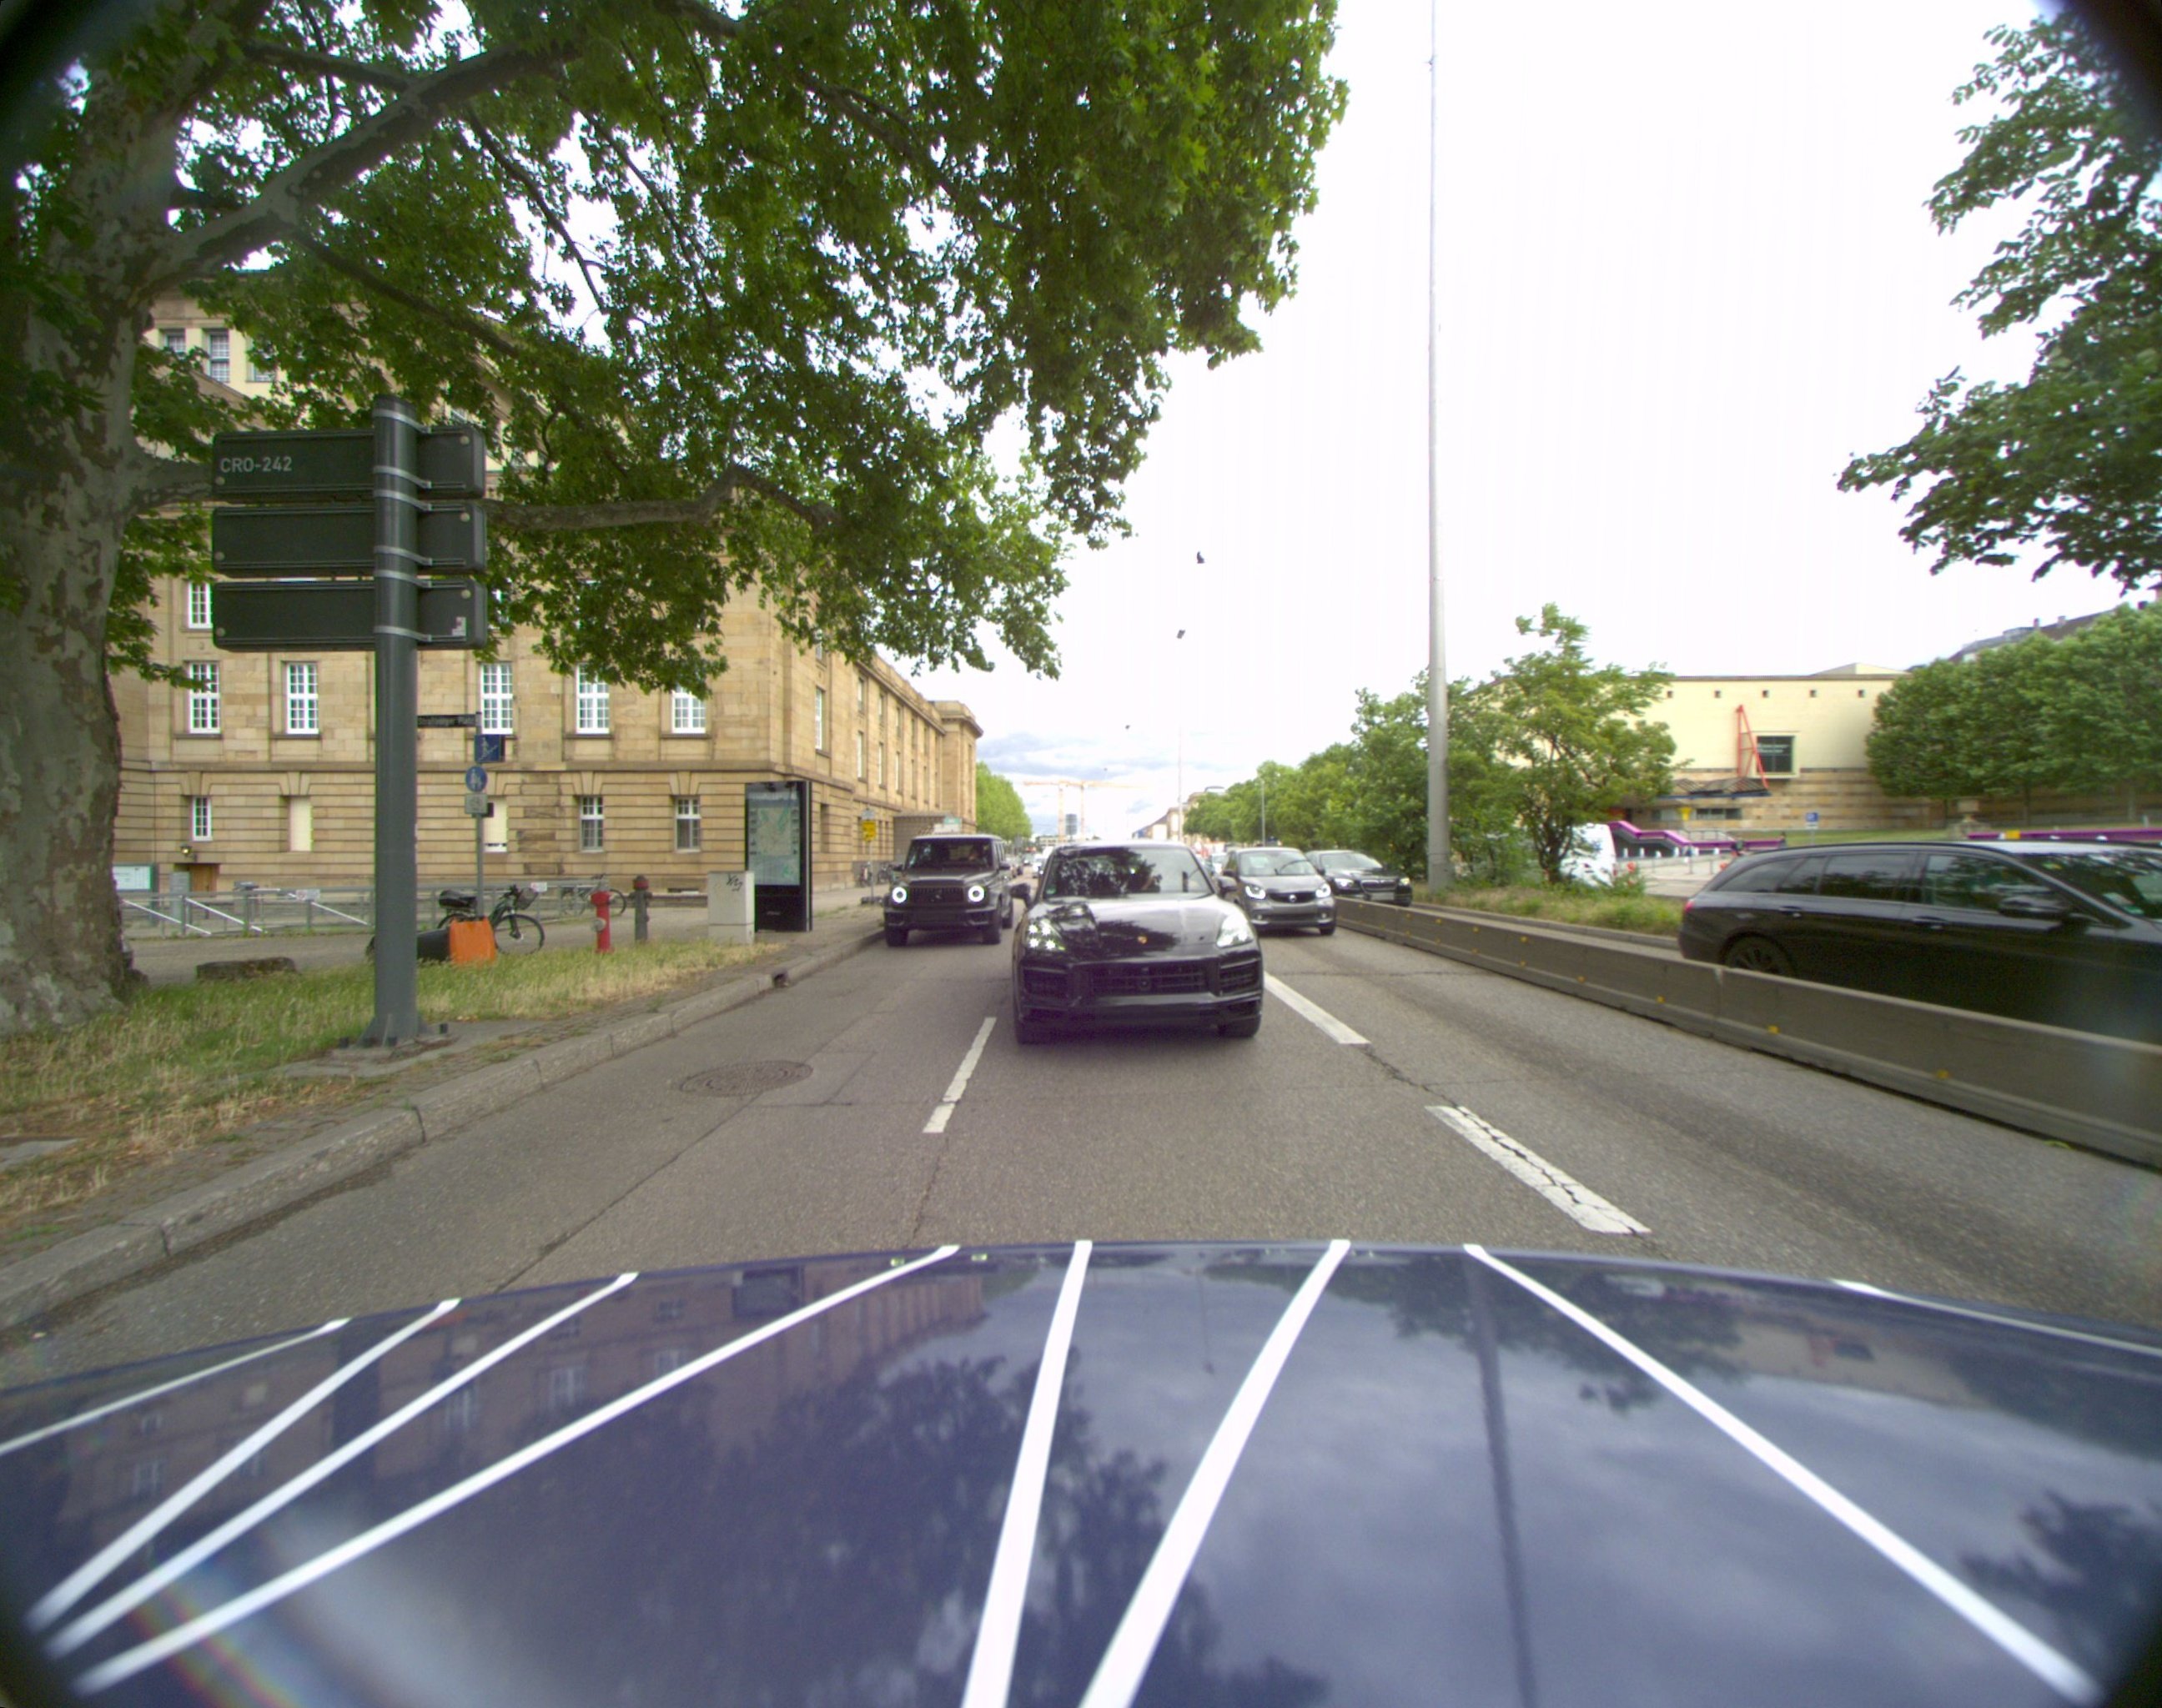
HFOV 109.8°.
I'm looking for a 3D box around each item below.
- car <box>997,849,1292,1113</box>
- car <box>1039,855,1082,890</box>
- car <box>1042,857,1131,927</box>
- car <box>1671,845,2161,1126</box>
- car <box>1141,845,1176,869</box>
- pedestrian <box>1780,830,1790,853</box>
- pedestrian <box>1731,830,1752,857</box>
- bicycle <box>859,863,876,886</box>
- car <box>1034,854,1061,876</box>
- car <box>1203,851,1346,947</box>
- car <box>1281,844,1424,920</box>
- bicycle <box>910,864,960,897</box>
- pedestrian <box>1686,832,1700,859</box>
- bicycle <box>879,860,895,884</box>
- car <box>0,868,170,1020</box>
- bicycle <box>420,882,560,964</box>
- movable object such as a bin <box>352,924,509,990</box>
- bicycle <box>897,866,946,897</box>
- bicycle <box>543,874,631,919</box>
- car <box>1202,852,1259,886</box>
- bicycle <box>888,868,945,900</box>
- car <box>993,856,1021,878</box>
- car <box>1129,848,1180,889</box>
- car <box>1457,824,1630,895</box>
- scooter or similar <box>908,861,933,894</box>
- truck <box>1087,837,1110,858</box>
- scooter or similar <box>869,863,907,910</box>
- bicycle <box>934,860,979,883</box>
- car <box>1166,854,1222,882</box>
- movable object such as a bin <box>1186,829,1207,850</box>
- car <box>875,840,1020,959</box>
[{"bbox_3d":[0.210,0.801,6.957,1.909,1.648,4.198,0,0,-6],"label":"car"},{"bbox_3d":[-0.981,0.834,36.085,1.930,1.501,3.999,-1,0,-2],"label":"car"},{"bbox_3d":[0.104,0.833,18.503,1.930,1.501,4.000,0,0,0],"label":"car"},{"bbox_3d":[6.725,0.700,5.093,1.821,1.490,4.768,-1,1,0],"label":"car"},{"bbox_3d":[5.548,0.185,54.518,1.781,1.611,4.044,-1,1,-4],"label":"car"},{"bbox_3d":[49.184,-0.891,53.077,0.348,1.602,0.405,-2,1,1],"label":"pedestrian"},{"bbox_3d":[45.654,-0.715,52.524,0.693,1.842,0.804,-2,1,1],"label":"pedestrian"},{"bbox_3d":[-9.994,0.961,35.624,0.241,0.992,1.962,-1,1,0],"label":"bicycle"},{"bbox_3d":[-2.469,0.795,55.597,1.931,1.501,3.999,-1,0,-3],"label":"car"},{"bbox_3d":[3.458,0.720,14.281,1.690,1.496,4.000,-1,1,1],"label":"car"},{"bbox_3d":[6.627,0.599,19.192,1.928,1.626,4.936,-1,0,2],"label":"car"},{"bbox_3d":[-5.566,1.008,29.037,1.762,1.202,0.604,-2,1,-3],"label":"bicycle"},{"bbox_3d":[42.614,-0.585,52.883,0.692,1.842,0.805,-2,2,37],"label":"pedestrian"},{"bbox_3d":[-10.006,0.921,39.228,0.276,1.176,1.538,-2,1,3],"label":"bicycle"},{"bbox_3d":[-13.191,0.979,8.555,3.845,1.559,1.679,-1,0,1],"label":"car"},{"bbox_3d":[-9.092,1.053,11.711,1.789,1.214,0.492,-1,1,3],"label":"bicycle"},{"bbox_3d":[-7.779,1.223,9.115,1.301,0.648,0.729,-2,1,9],"label":"movable object such as a bin"},{"bbox_3d":[-5.833,1.006,27.796,1.731,1.085,0.426,-2,1,13],"label":"bicycle"},{"bbox_3d":[-12.954,1.116,19.934,2.016,1.119,0.389,-1,1,0],"label":"bicycle"},{"bbox_3d":[7.099,0.674,36.536,1.677,1.498,3.852,-1,1,-5],"label":"car"},{"bbox_3d":[-5.869,1.060,27.175,1.861,1.085,0.666,-2,1,8],"label":"bicycle"},{"bbox_3d":[-5.271,0.882,54.239,1.620,1.447,3.858,1,0,0],"label":"car"},{"bbox_3d":[3.144,0.566,33.230,1.690,1.646,3.999,-1,1,-2],"label":"car"},{"bbox_3d":[14.219,0.159,23.870,2.121,1.958,5.578,0,0,1],"label":"car"},{"bbox_3d":[-6.371,0.921,30.222,0.426,1.217,1.313,-2,1,11],"label":"scooter or similar"},{"bbox_3d":[2.430,-0.899,106.993,2.978,2.757,7.254,0,0,0],"label":"truck"},{"bbox_3d":[-5.545,0.913,21.946,0.432,1.273,1.435,-2,1,12],"label":"scooter or similar"},{"bbox_3d":[-5.139,0.715,31.314,1.730,0.912,0.614,0,1,19],"label":"bicycle"},{"bbox_3d":[6.513,0.780,44.186,1.884,1.473,4.700,-1,0,-9],"label":"car"},{"bbox_3d":[12.179,-1.519,80.162,1.526,2.172,3.291,0,0,-4],"label":"movable object such as a bin"},{"bbox_3d":[-2.349,0.740,14.565,1.952,1.914,4.399,-1,0,1],"label":"car"}]
